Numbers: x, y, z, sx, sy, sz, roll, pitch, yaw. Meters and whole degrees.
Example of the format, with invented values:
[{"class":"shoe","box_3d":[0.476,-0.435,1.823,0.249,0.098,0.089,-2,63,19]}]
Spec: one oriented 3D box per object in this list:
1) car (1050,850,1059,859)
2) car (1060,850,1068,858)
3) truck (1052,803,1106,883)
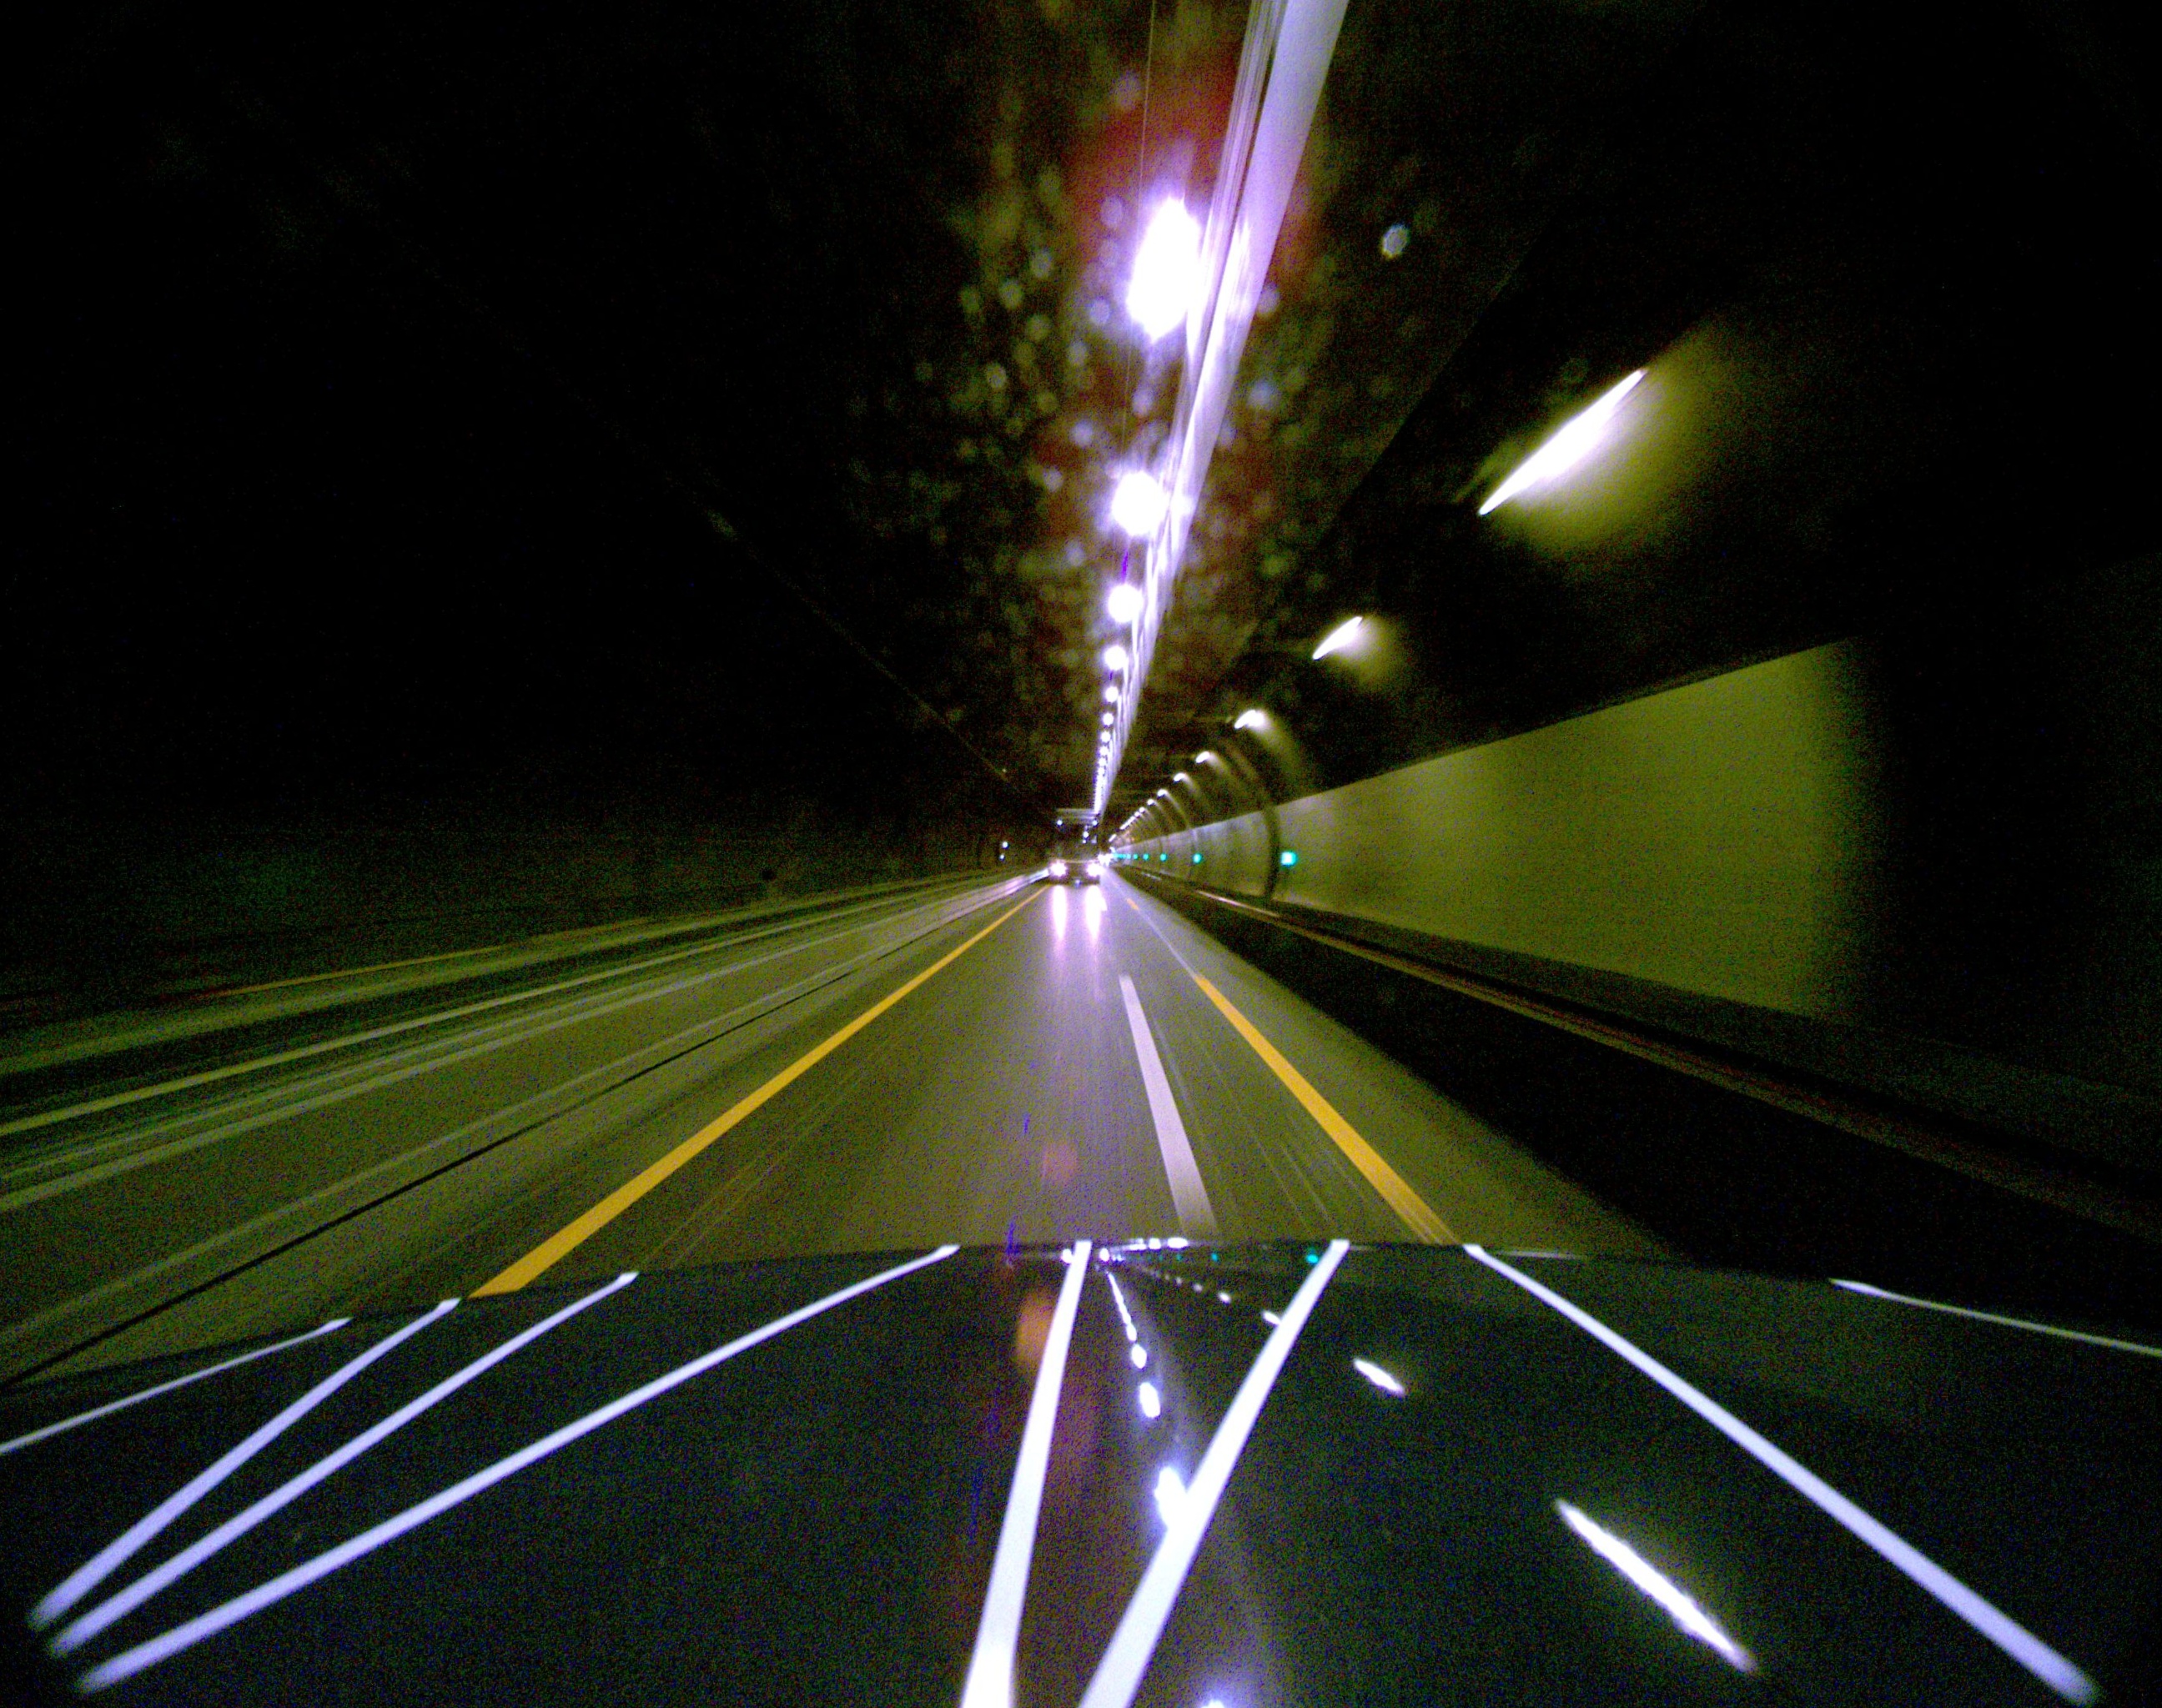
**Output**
[{"class":"car","box_3d":[-5.205,0.098,150.073,1.756,1.834,4.644,1,0,-3]},{"class":"car","box_3d":[-4.082,0.078,180.100,1.832,1.848,5.441,0,0,0]},{"class":"truck","box_3d":[0.018,-0.601,44.128,2.769,4.198,7.977,-1,1,2]}]
